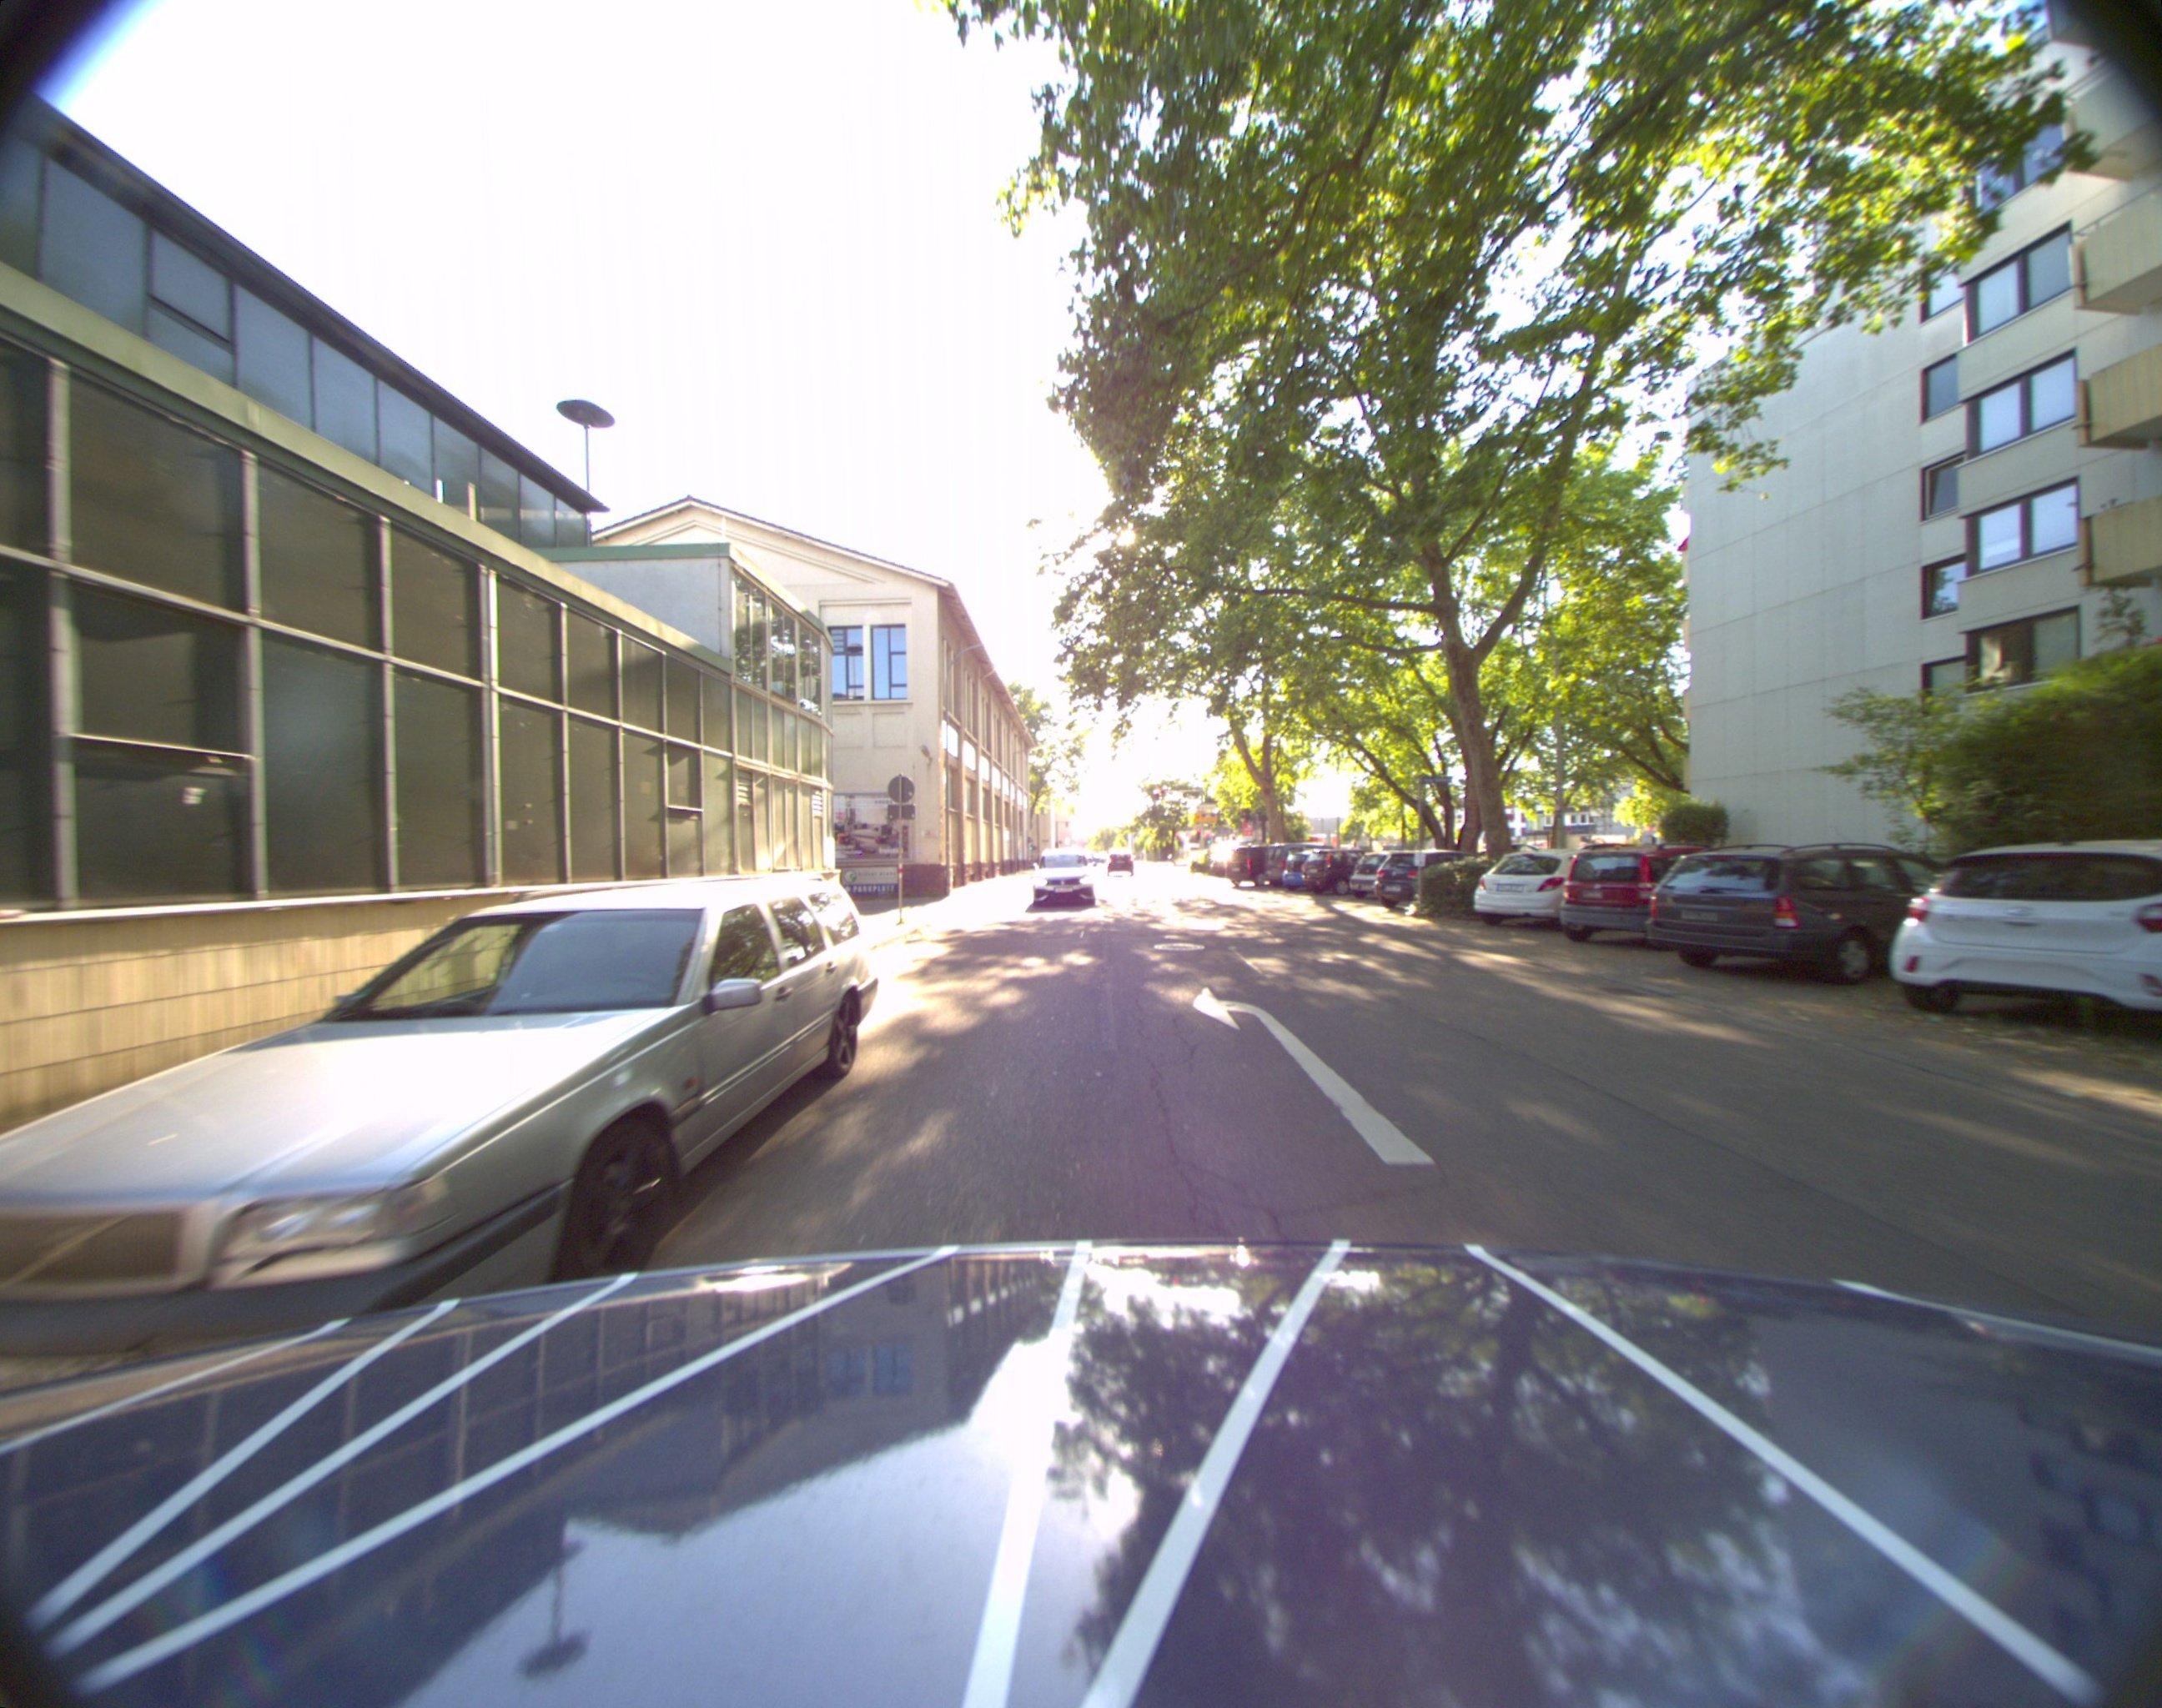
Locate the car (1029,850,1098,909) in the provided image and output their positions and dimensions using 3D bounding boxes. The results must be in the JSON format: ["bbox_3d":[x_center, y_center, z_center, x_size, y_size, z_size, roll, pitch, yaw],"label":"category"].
[{"bbox_3d":[-0.542,0.724,23.493,1.854,1.527,3.856,-4,1,-1],"label":"car"}]

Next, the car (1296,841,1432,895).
[{"bbox_3d":[9.666,0.437,26.035,4.001,1.615,1.796,-2,1,-13],"label":"car"}]

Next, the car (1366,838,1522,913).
[{"bbox_3d":[9.405,0.501,19.657,3.654,1.652,1.647,-3,1,-25],"label":"car"}]

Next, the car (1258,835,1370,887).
[{"bbox_3d":[9.547,0.267,31.227,4.002,1.871,1.831,-3,1,-15],"label":"car"}]

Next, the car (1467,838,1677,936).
[{"bbox_3d":[9.491,0.559,14.670,3.654,1.552,1.706,-3,1,-26],"label":"car"}]

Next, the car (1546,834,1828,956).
[{"bbox_3d":[9.473,0.566,11.940,3.652,1.552,1.647,-3,1,-17],"label":"car"}]

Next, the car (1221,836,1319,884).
[{"bbox_3d":[8.416,0.257,33.795,4.004,1.876,1.713,-3,1,-25],"label":"car"}]

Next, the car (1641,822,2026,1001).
[{"bbox_3d":[8.794,0.558,8.941,3.652,1.652,1.647,-3,1,-17],"label":"car"}]

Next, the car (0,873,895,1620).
[{"bbox_3d":[-2.490,0.976,3.982,1.905,1.485,4.528,-3,1,-1],"label":"car"}]

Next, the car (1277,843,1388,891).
[{"bbox_3d":[9.381,0.460,28.382,3.602,1.552,1.647,-3,1,-17],"label":"car"}]

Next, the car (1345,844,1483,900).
[{"bbox_3d":[10.211,0.504,23.341,3.653,1.453,1.703,-3,1,-19],"label":"car"}]

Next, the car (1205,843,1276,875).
[{"bbox_3d":[9.384,0.258,44.645,4.006,1.633,1.713,-3,1,-33],"label":"car"}]

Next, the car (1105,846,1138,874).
[{"bbox_3d":[2.574,0.364,49.012,1.965,1.633,3.999,-3,1,1],"label":"car"}]

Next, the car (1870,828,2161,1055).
[{"bbox_3d":[9.047,0.574,6.420,3.663,1.485,1.774,-3,0,-17],"label":"car"}]
